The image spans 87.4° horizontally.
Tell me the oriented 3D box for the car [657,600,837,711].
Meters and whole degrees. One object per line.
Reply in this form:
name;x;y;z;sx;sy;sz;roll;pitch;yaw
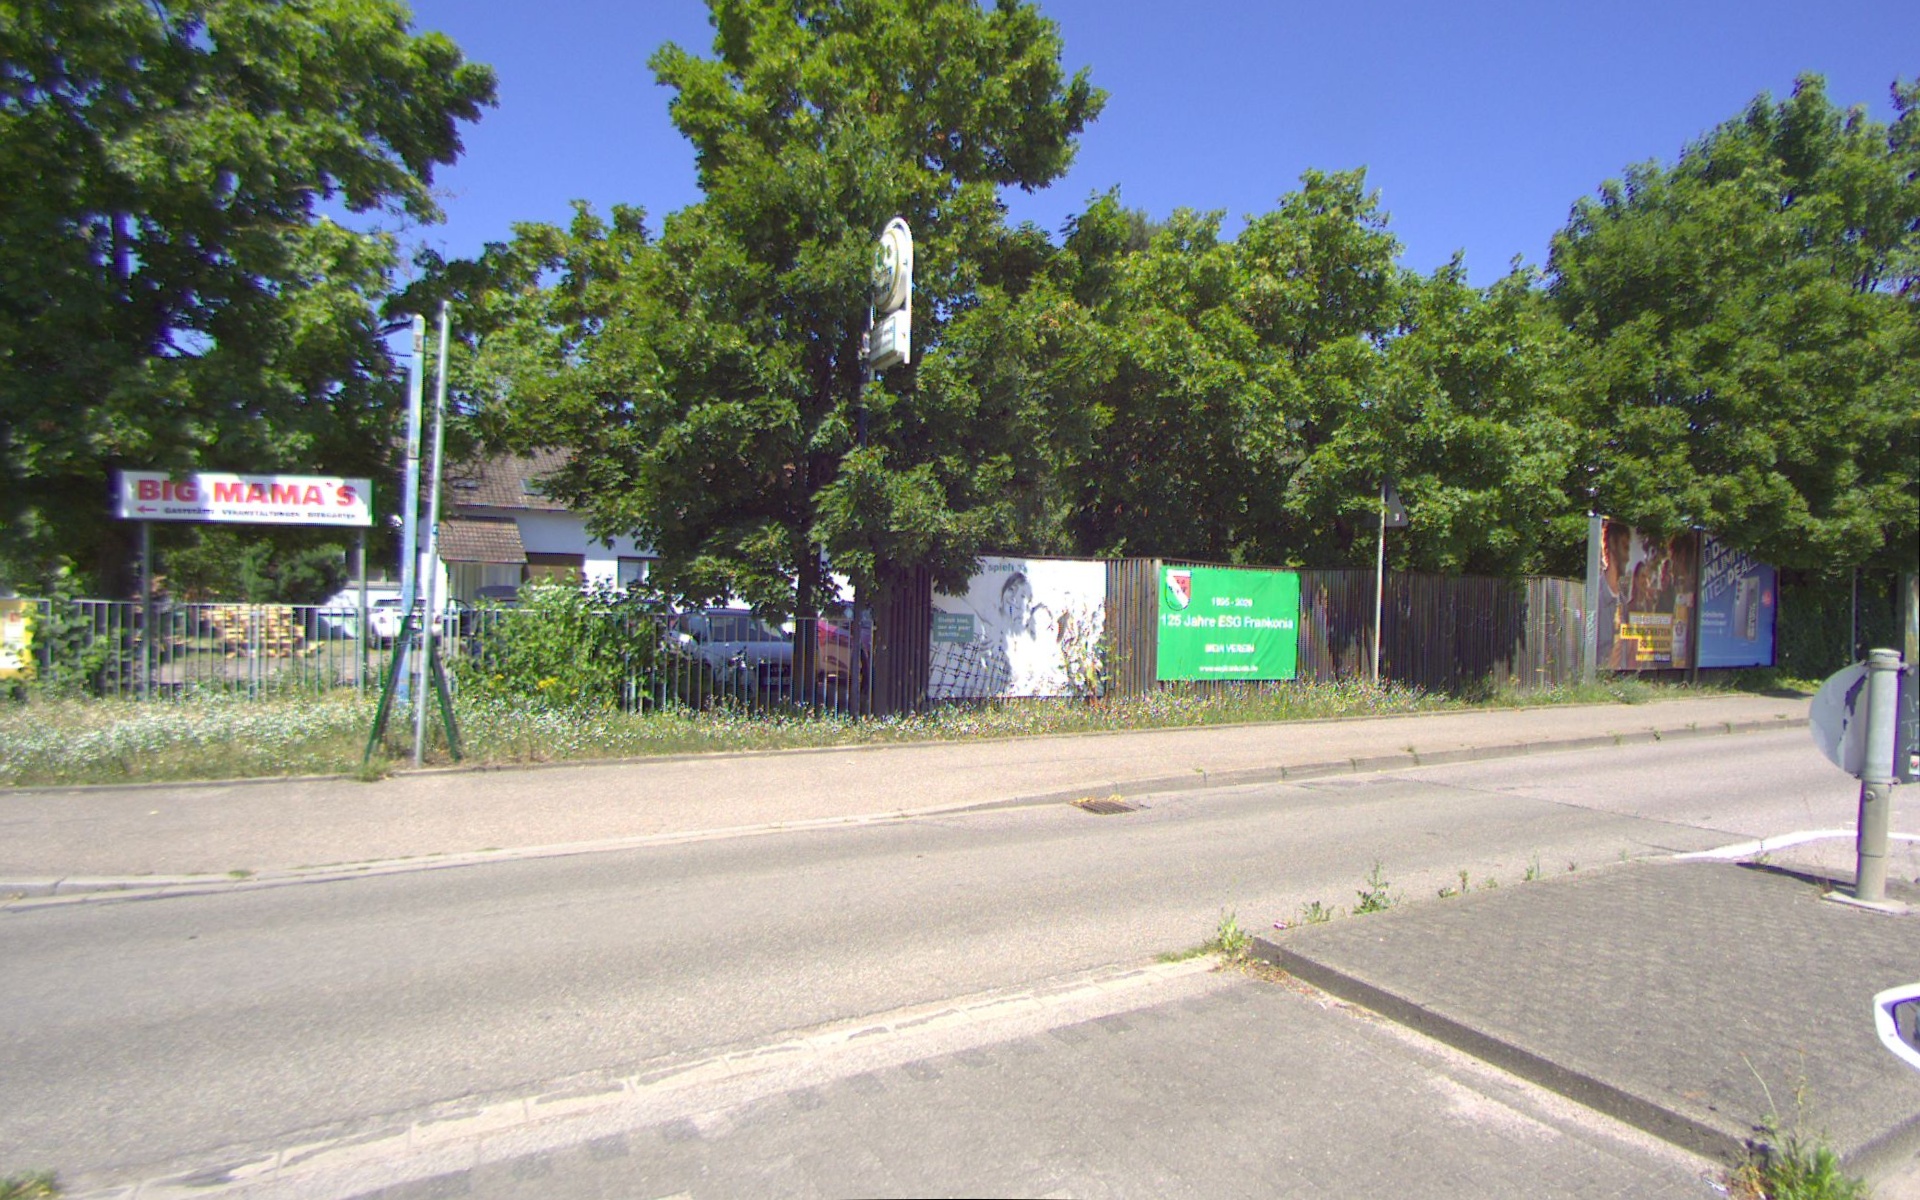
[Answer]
car;-3.545;0.801;16.201;1.788;1.546;3.845;2;-1;-29

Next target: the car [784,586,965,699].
car;-1.803;0.731;19.227;1.972;1.865;4.810;2;0;-24

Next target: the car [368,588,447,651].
car;-15.113;0.516;27.506;1.751;1.598;3.319;2;0;-29

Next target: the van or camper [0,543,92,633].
van or camper;-29.272;-0.438;31.392;2.464;2.626;4.429;2;2;-31

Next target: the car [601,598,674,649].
car;-9.896;0.691;30.679;1.526;1.466;3.118;2;0;-29

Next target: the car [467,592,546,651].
car;-13.024;0.578;28.758;1.751;1.586;3.319;1;0;-29
